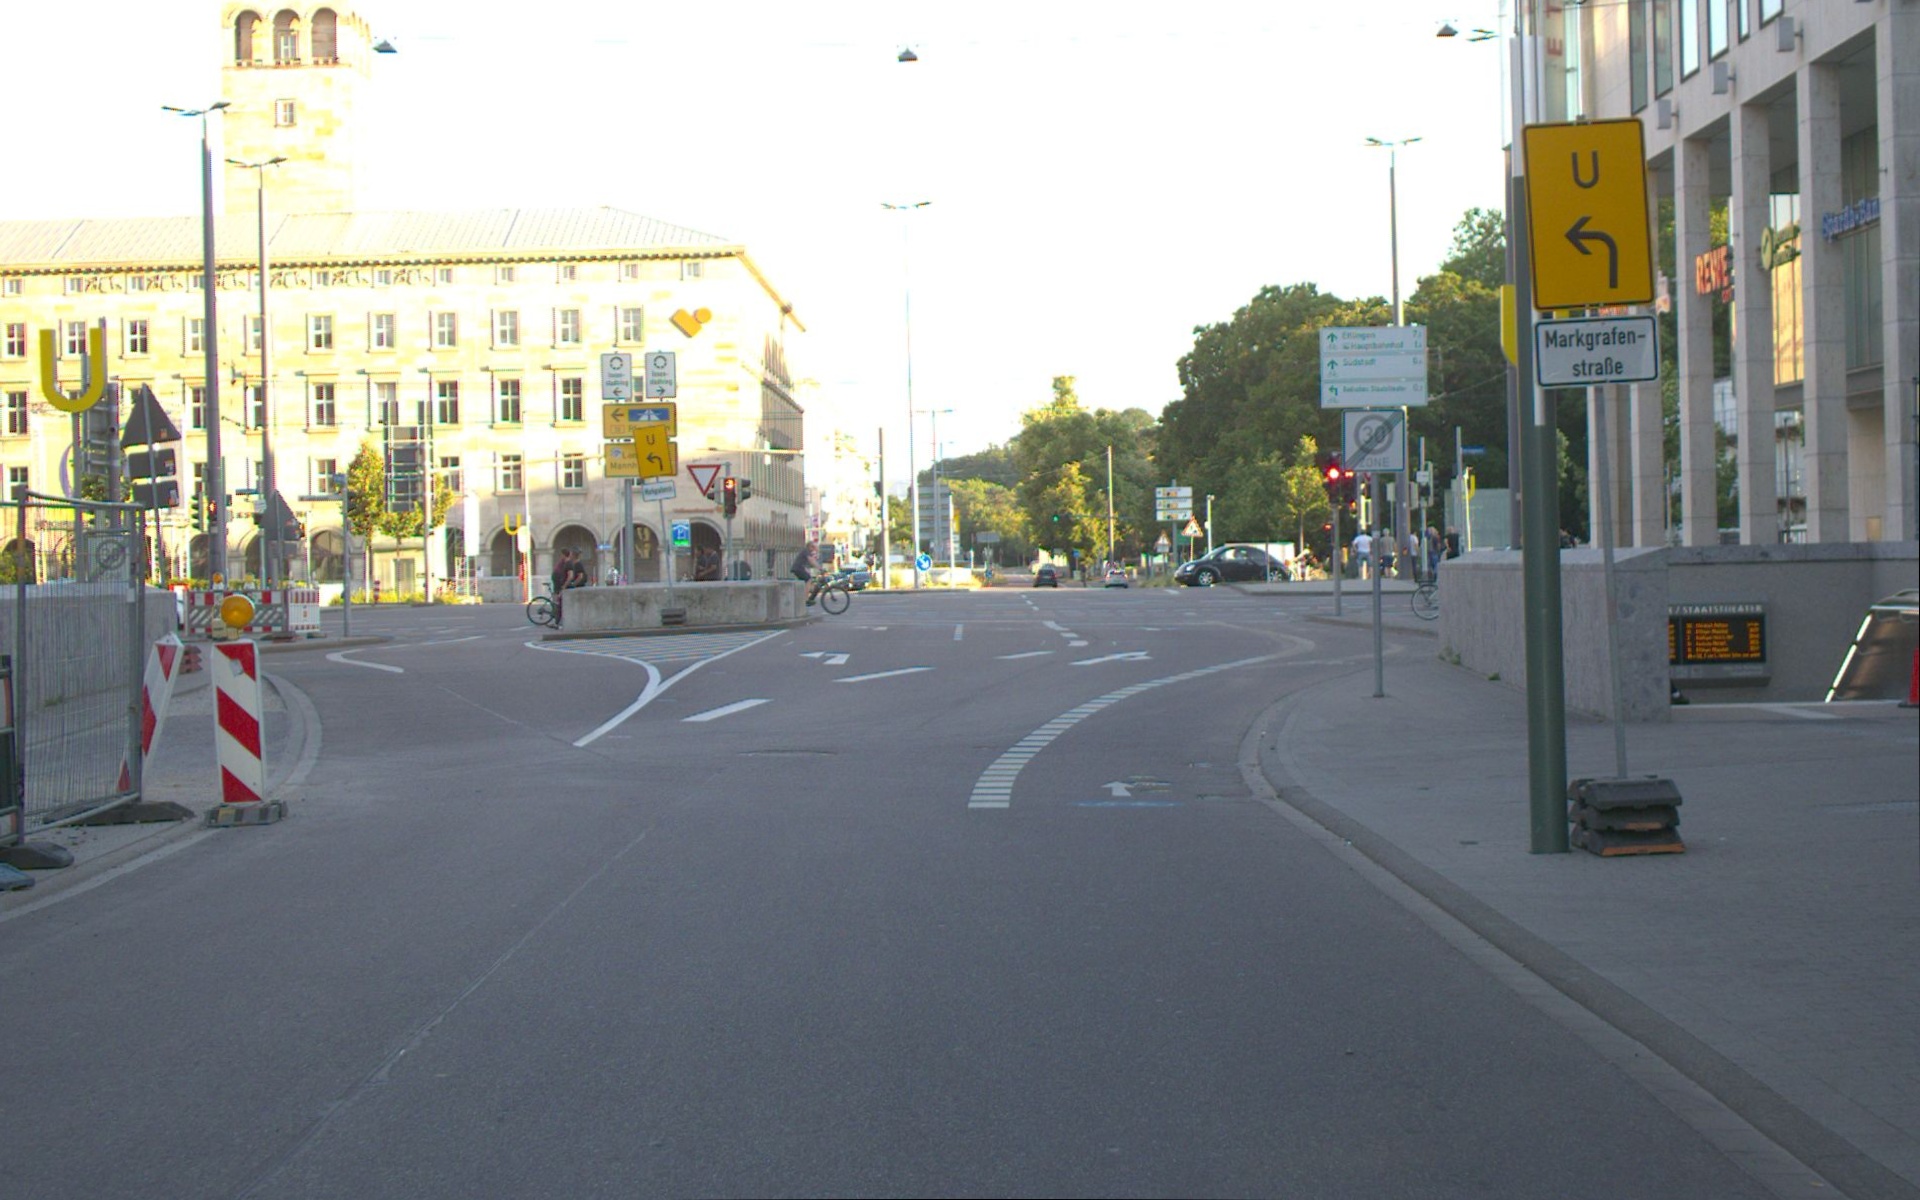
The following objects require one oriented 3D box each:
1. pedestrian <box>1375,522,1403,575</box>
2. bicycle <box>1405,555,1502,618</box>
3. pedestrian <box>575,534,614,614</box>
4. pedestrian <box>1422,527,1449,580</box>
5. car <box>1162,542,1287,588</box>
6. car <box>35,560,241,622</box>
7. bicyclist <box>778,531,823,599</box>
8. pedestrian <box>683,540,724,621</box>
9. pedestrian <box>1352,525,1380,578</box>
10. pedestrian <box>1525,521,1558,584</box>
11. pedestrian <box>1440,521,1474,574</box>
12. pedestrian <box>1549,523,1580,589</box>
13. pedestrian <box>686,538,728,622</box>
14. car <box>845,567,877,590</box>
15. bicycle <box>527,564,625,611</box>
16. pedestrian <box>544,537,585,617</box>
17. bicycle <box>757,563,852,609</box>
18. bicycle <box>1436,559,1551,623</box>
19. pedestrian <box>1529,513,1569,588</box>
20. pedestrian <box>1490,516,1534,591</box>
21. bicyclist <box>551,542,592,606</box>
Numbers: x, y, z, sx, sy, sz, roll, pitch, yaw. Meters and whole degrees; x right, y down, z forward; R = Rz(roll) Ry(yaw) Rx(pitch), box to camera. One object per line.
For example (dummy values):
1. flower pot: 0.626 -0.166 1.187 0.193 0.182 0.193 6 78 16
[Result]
1. pedestrian: 14.085 -1.687 112.873 0.808 1.724 0.688 -1 1 -1
2. bicycle: 9.819 -0.275 68.396 1.819 1.208 0.570 -1 1 16
3. pedestrian: -8.373 -0.602 78.795 0.738 1.771 0.863 -4 1 -2
4. pedestrian: 15.620 -1.535 112.866 0.808 1.724 0.687 -1 1 13
5. car: 9.230 -1.224 120.198 3.986 1.489 1.829 -2 1 -11
6. car: -21.255 -0.246 88.989 4.796 1.490 2.128 -1 1 0
7. bicyclist: -3.873 -0.856 83.520 1.019 1.615 0.653 -1 1 1
8. pedestrian: -5.656 -0.428 75.791 0.738 1.771 0.864 0 1 -15
9. pedestrian: 13.316 -1.584 112.816 0.808 1.724 0.688 -1 1 -1
10. pedestrian: 15.907 -1.300 94.077 0.836 1.724 0.688 -1 1 7
11. pedestrian: 16.321 -1.711 112.904 0.808 1.724 0.688 -2 1 -26
12. pedestrian: 16.015 -1.158 91.138 0.692 1.724 0.741 -1 1 2
13. pedestrian: -5.510 -0.433 74.804 0.738 1.771 0.863 -3 1 -10
14. car: -6.889 -1.529 239.957 1.993 1.514 4.000 -1 1 2
15. bicycle: -9.291 -0.302 83.217 2.242 1.058 0.653 -1 1 2
16. pedestrian: -8.986 -0.528 78.104 0.738 1.771 0.863 -4 1 -2
17. bicycle: -3.777 -0.342 83.529 2.242 1.058 0.653 -1 1 1
18. bicycle: 9.088 -0.152 58.613 1.898 1.044 0.570 -1 1 6
19. pedestrian: 14.343 -1.198 83.684 0.756 1.771 0.741 -4 1 1
20. pedestrian: 13.440 -1.140 83.784 0.860 1.771 0.741 -4 1 2
21. bicyclist: -9.403 -0.641 83.220 0.879 1.525 0.653 -1 1 2
